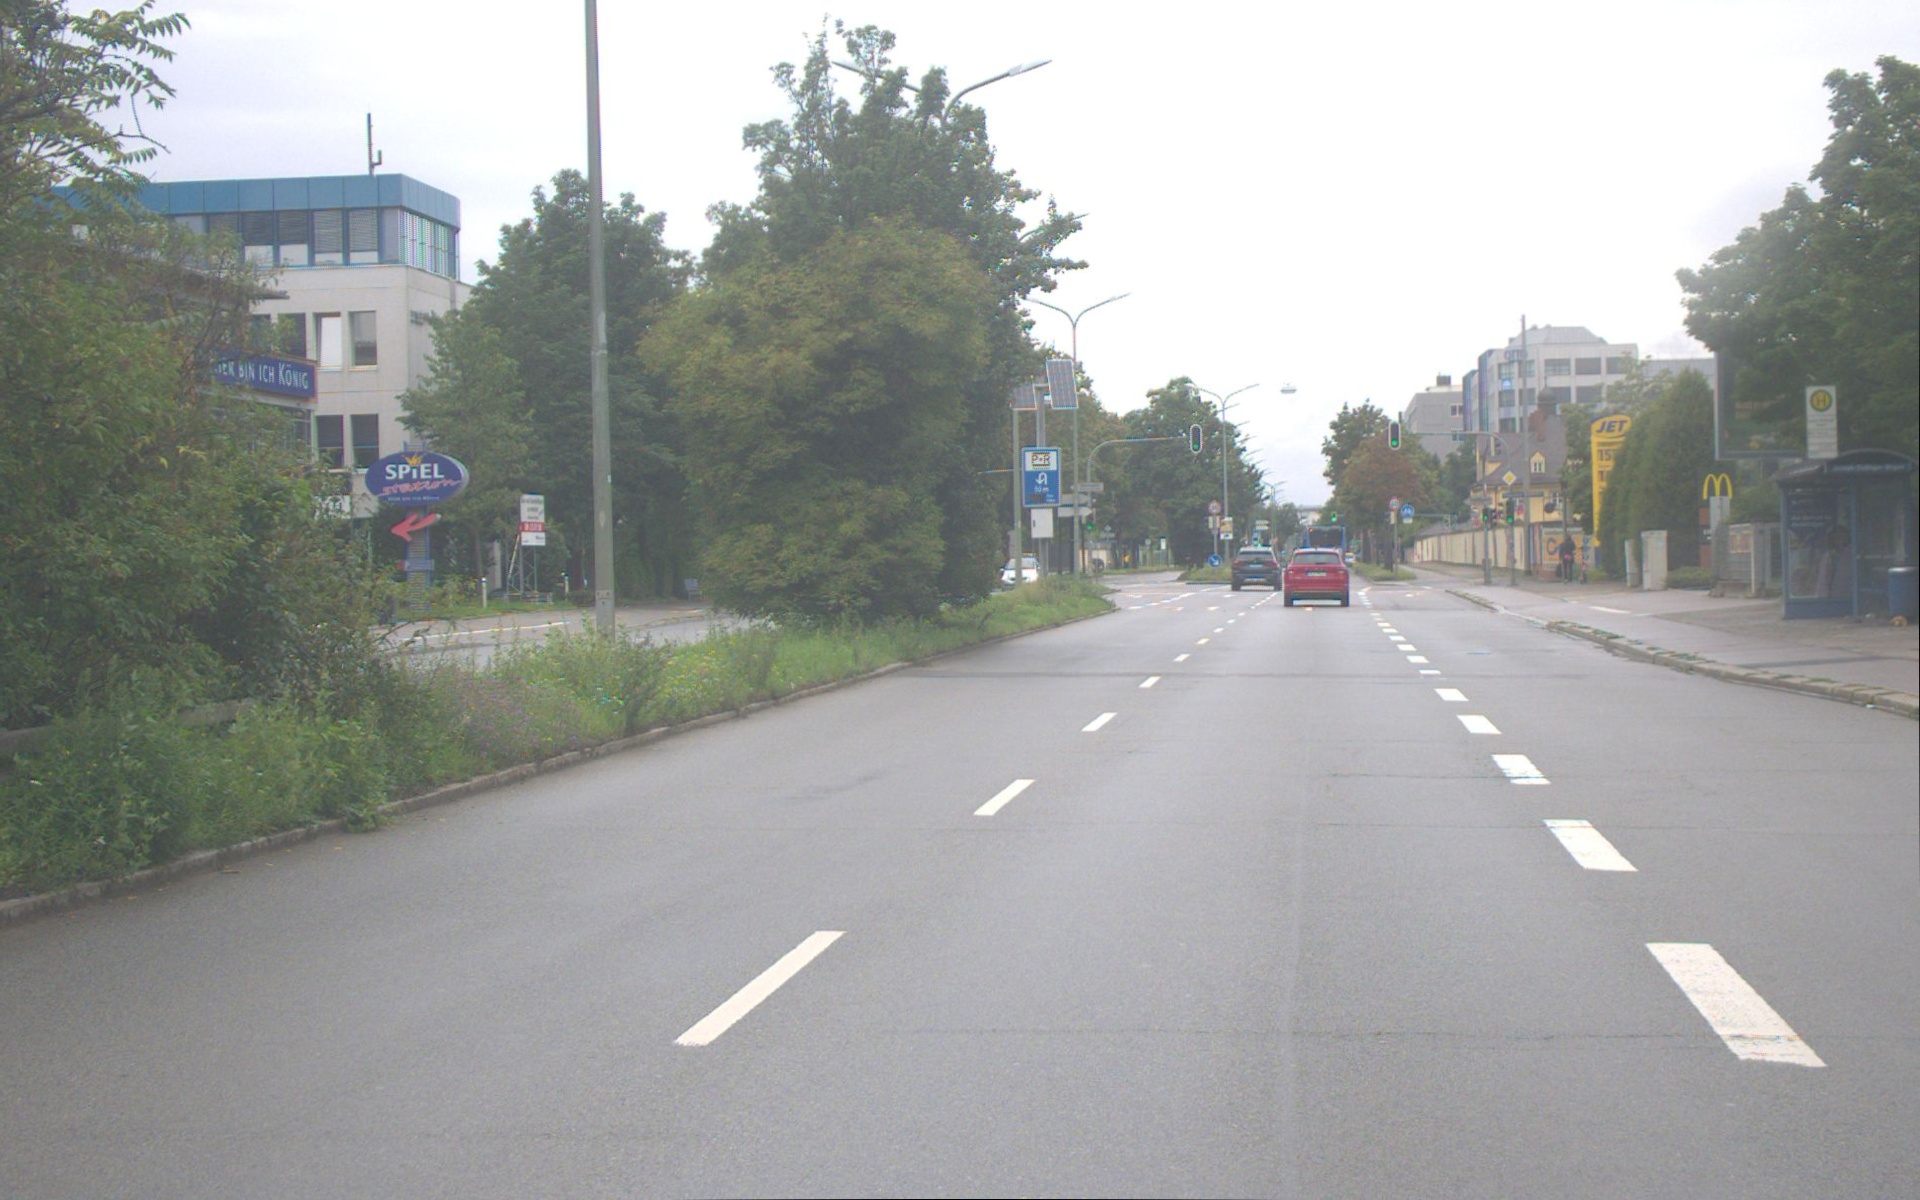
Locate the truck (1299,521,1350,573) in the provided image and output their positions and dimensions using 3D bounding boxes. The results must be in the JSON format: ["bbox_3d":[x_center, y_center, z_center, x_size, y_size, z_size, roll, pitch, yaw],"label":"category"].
[{"bbox_3d":[23.703,-3.453,223.823,2.969,3.274,7.914,-1,1,4],"label":"truck"}]

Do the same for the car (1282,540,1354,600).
[{"bbox_3d":[9.892,-0.825,95.199,1.862,1.612,3.999,-1,0,4],"label":"car"}]

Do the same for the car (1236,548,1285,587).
[{"bbox_3d":[11.469,-1.235,131.419,1.803,1.428,4.000,-1,1,4],"label":"car"}]

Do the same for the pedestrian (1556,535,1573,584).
[{"bbox_3d":[20.590,-1.383,117.122,0.483,1.630,0.590,-1,1,7],"label":"pedestrian"}]

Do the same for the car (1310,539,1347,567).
[{"bbox_3d":[19.496,-2.500,182.133,1.803,1.428,3.999,-1,0,4],"label":"car"}]
